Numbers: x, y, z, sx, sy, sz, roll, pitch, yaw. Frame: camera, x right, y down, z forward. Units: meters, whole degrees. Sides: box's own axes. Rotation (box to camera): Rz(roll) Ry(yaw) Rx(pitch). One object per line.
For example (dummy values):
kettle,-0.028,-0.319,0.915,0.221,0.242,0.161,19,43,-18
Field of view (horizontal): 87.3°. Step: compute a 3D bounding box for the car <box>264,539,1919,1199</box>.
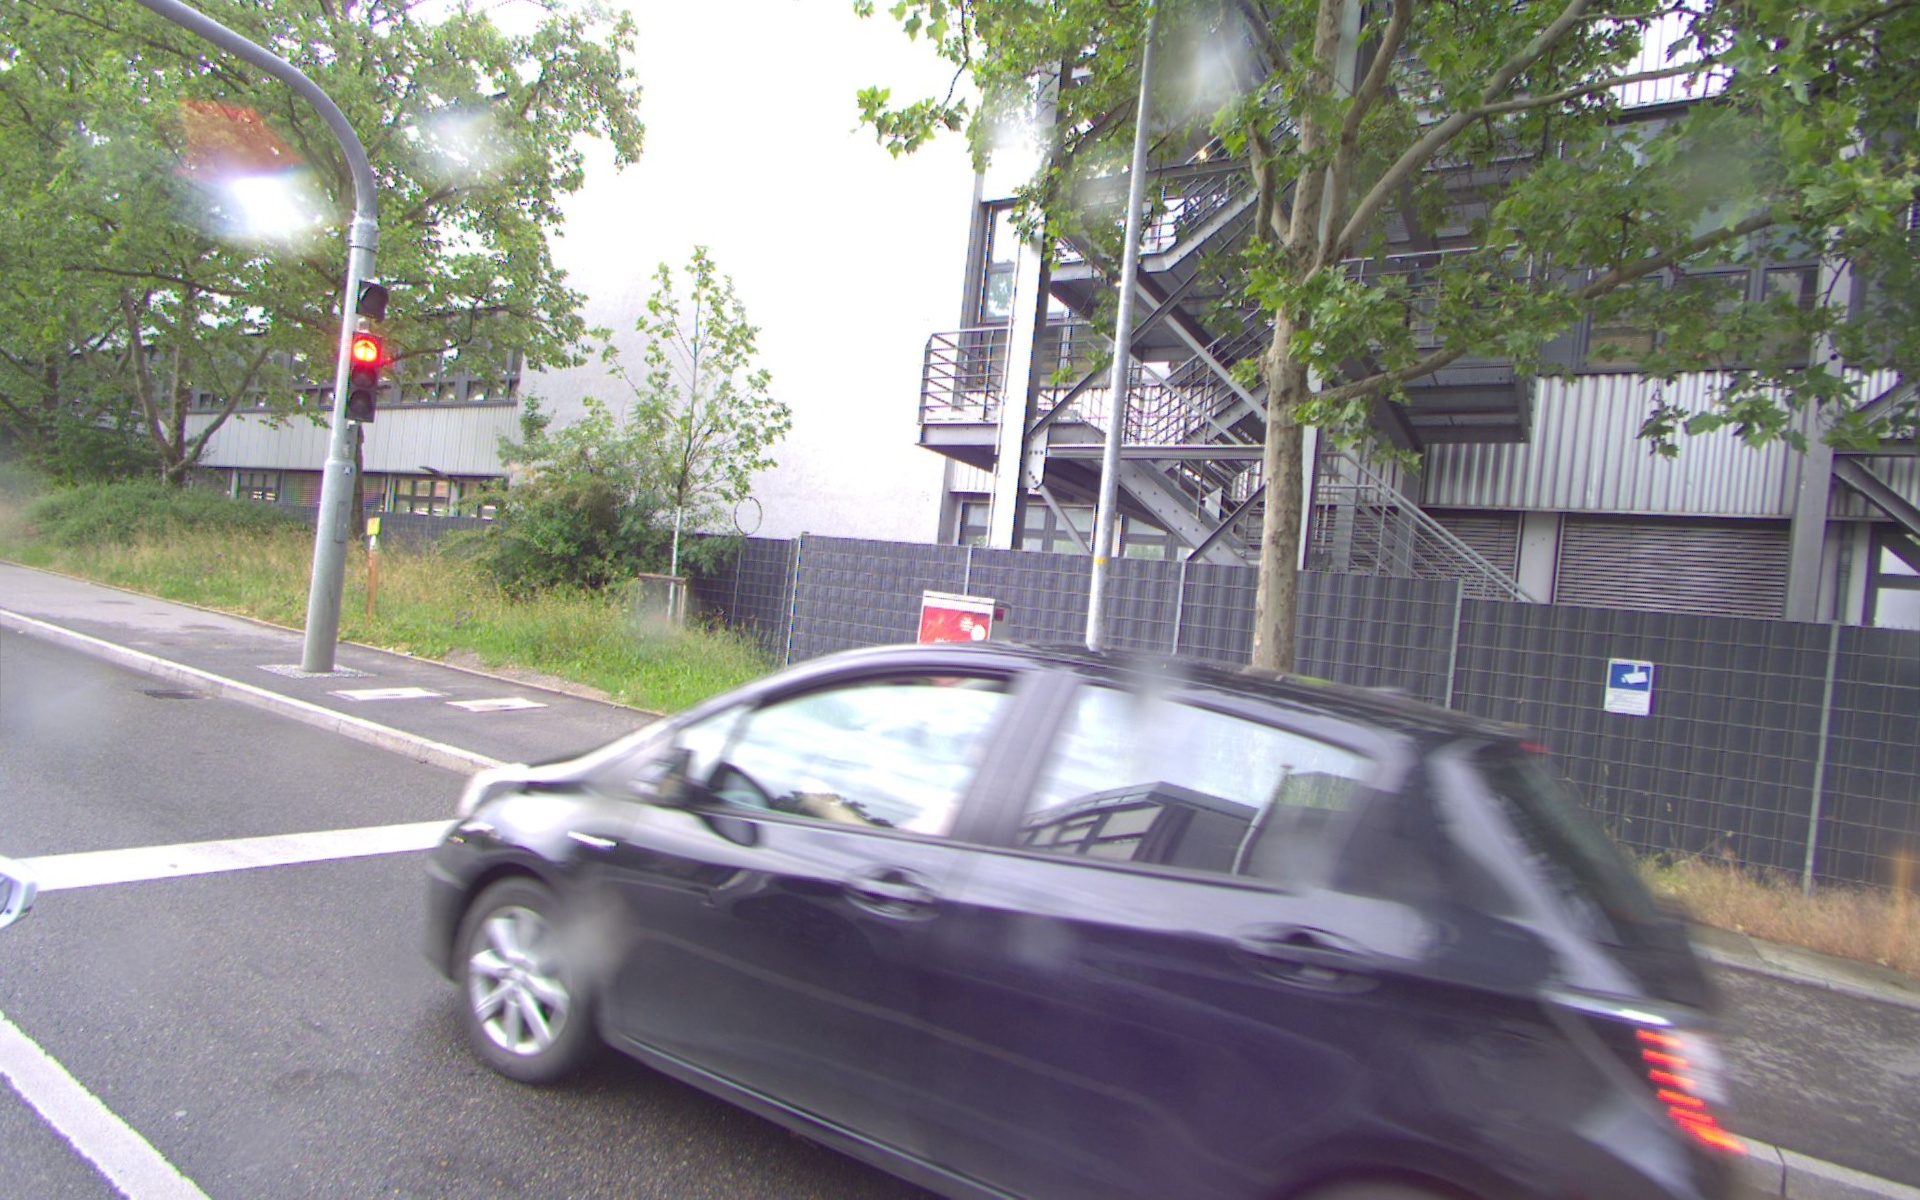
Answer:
car,0.058,0.819,3.077,4.005,1.513,1.879,7,1,28
